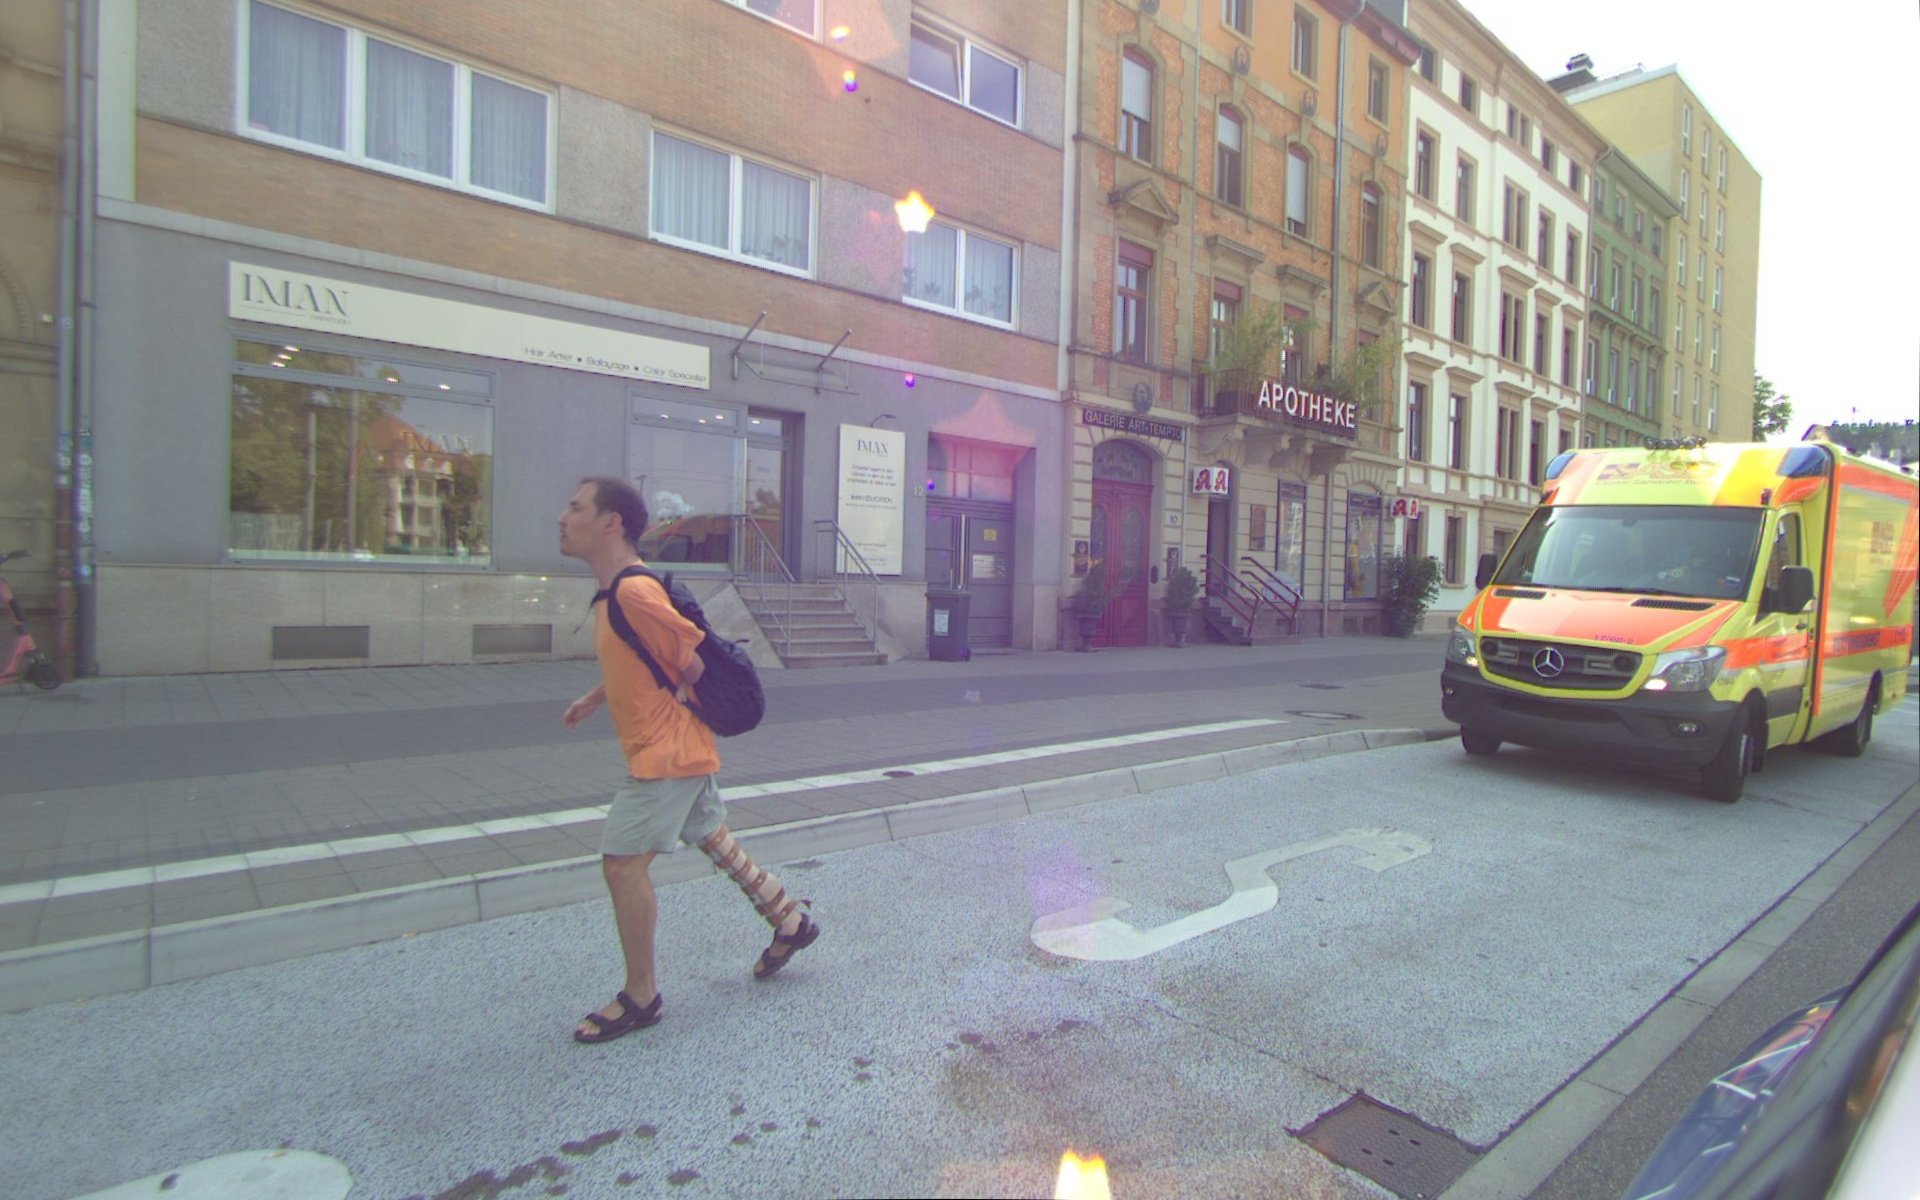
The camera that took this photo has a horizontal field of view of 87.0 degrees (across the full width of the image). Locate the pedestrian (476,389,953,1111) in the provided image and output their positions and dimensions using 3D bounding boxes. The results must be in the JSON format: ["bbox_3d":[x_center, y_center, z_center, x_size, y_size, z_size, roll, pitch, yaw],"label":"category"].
[{"bbox_3d":[-0.810,0.355,3.167,1.214,1.762,0.969,1,2,-27],"label":"pedestrian"}]

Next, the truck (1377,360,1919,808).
[{"bbox_3d":[6.619,-0.173,9.149,6.221,2.803,2.336,0,4,-37],"label":"truck"}]

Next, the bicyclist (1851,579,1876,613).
[{"bbox_3d":[43.927,-0.184,49.215,1.083,1.606,0.721,1,1,-40],"label":"bicyclist"}]

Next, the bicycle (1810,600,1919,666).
[{"bbox_3d":[18.010,0.629,19.979,0.427,1.235,1.841,1,0,-39],"label":"bicycle"}]

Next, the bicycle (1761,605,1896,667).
[{"bbox_3d":[16.321,0.653,19.055,0.645,1.070,1.841,0,0,-40],"label":"bicycle"}]

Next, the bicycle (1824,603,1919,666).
[{"bbox_3d":[18.855,0.687,20.618,0.626,1.219,1.841,1,0,-39],"label":"bicycle"}]

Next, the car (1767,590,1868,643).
[{"bbox_3d":[26.604,0.491,31.355,3.863,1.444,1.667,0,4,-40],"label":"car"}]

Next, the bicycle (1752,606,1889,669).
[{"bbox_3d":[15.797,0.656,18.625,0.645,1.074,1.841,0,0,-40],"label":"bicycle"}]

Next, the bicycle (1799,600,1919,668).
[{"bbox_3d":[17.328,0.627,19.419,0.427,1.219,1.841,1,0,-39],"label":"bicycle"}]

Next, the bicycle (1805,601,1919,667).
[{"bbox_3d":[17.664,0.642,19.686,0.427,1.219,1.841,1,0,-39],"label":"bicycle"}]

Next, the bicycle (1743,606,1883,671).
[{"bbox_3d":[15.302,0.664,18.195,0.645,1.066,1.841,0,0,-40],"label":"bicycle"}]

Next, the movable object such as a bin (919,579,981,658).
[{"bbox_3d":[-0.141,0.256,15.164,0.640,1.118,0.723,3,2,24],"label":"movable object such as a bin"}]

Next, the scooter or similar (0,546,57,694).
[{"bbox_3d":[-8.259,0.157,8.387,0.476,1.227,1.124,2,2,44],"label":"scooter or similar"}]

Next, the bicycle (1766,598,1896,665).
[{"bbox_3d":[16.742,0.580,19.501,0.539,1.219,1.841,1,0,-39],"label":"bicycle"}]
